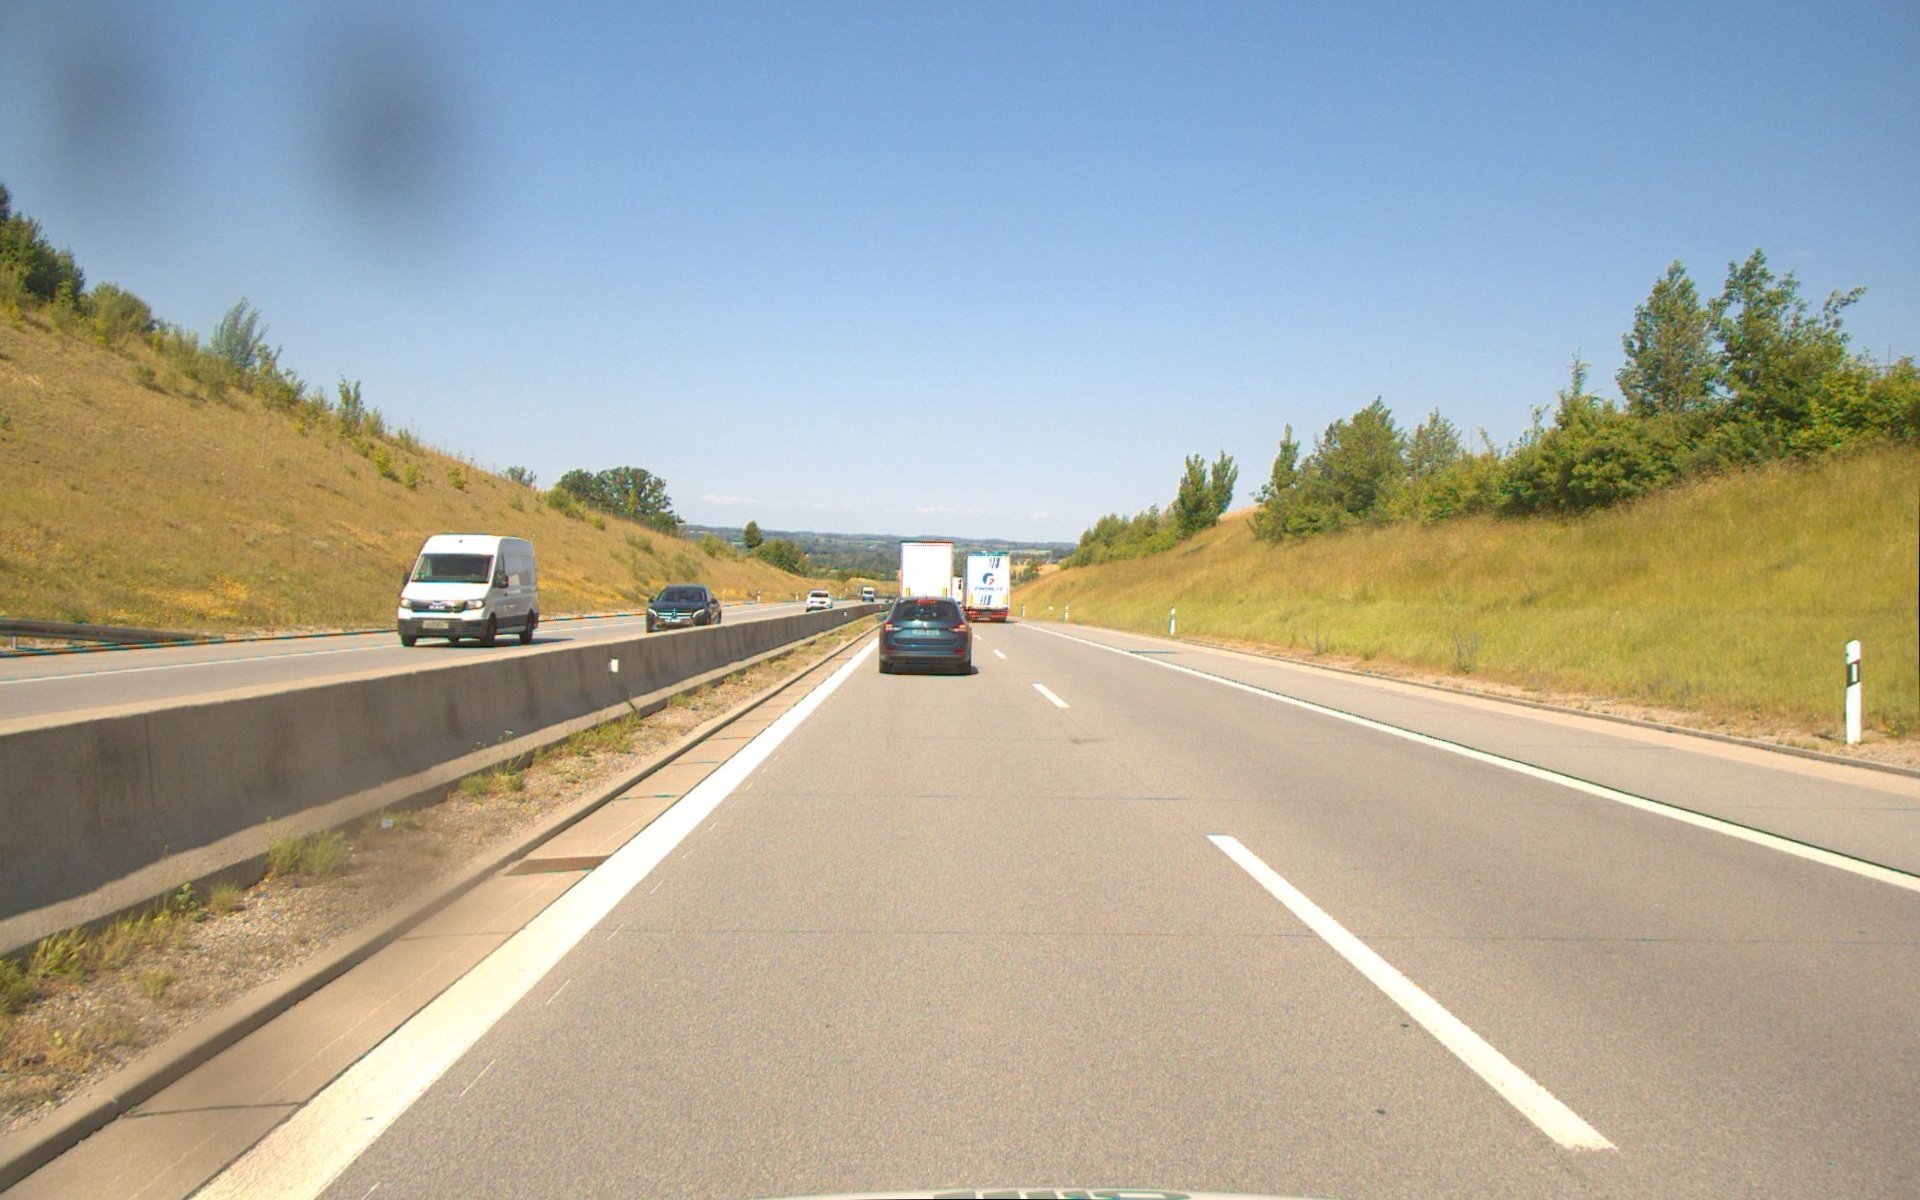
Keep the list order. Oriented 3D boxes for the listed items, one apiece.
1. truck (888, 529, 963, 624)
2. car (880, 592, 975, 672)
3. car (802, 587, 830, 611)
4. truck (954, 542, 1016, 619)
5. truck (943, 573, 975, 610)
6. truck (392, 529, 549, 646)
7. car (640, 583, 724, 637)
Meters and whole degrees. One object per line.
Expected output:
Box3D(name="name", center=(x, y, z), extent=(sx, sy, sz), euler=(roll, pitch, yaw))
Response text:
Box3D(name="truck", center=(-1.623, -1.136, 83.990), extent=(3.144, 4.458, 11.236), euler=(1, 0, 2))
Box3D(name="car", center=(-0.663, 0.579, 32.257), extent=(1.741, 1.466, 3.787), euler=(0, 0, -2))
Box3D(name="car", center=(-10.446, -0.095, 119.875), extent=(1.740, 1.629, 4.038), euler=(1, 0, -1))
Box3D(name="truck", center=(1.615, -1.193, 102.997), extent=(3.530, 4.458, 11.235), euler=(1, 0, 1))
Box3D(name="truck", center=(-0.066, -1.103, 206.507), extent=(3.530, 4.458, 11.235), euler=(1, 0, 1))
Box3D(name="truck", center=(-11.466, -0.302, 39.215), extent=(2.070, 2.503, 5.949), euler=(1, 0, -2))
Box3D(name="car", center=(-8.149, 0.256, 48.851), extent=(1.816, 1.487, 4.332), euler=(1, 0, -2))
